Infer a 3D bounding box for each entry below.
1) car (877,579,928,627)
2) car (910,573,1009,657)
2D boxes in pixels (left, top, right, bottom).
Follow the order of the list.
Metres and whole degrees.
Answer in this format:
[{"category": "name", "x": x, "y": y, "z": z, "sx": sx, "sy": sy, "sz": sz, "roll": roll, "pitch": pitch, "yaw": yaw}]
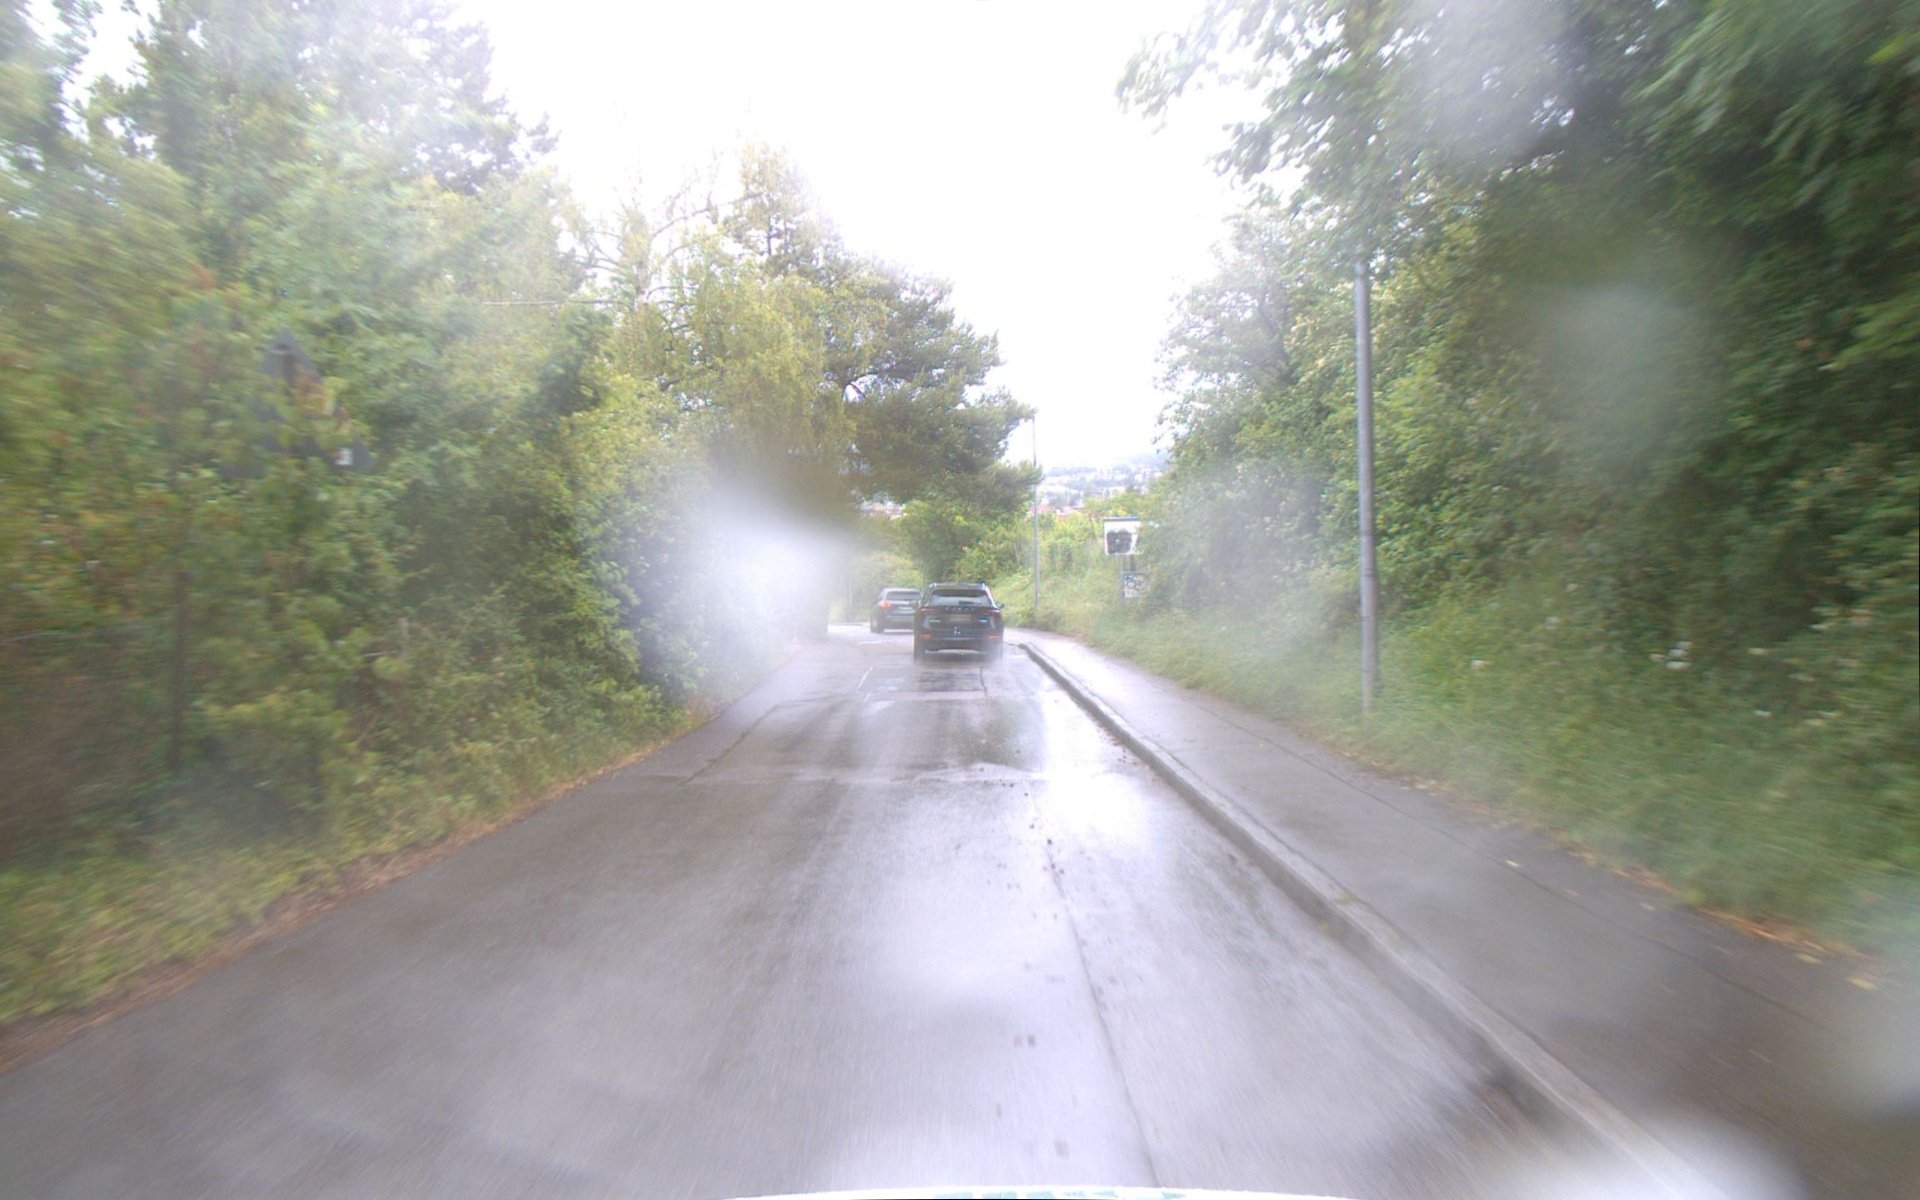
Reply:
[{"category": "car", "x": -2.026, "y": 0.072, "z": 57.394, "sx": 1.645, "sy": 1.592, "sz": 3.791, "roll": -1, "pitch": 1, "yaw": -4}, {"category": "car", "x": -0.070, "y": 0.270, "z": 32.712, "sx": 1.798, "sy": 1.489, "sz": 3.999, "roll": -2, "pitch": 0, "yaw": -2}]
